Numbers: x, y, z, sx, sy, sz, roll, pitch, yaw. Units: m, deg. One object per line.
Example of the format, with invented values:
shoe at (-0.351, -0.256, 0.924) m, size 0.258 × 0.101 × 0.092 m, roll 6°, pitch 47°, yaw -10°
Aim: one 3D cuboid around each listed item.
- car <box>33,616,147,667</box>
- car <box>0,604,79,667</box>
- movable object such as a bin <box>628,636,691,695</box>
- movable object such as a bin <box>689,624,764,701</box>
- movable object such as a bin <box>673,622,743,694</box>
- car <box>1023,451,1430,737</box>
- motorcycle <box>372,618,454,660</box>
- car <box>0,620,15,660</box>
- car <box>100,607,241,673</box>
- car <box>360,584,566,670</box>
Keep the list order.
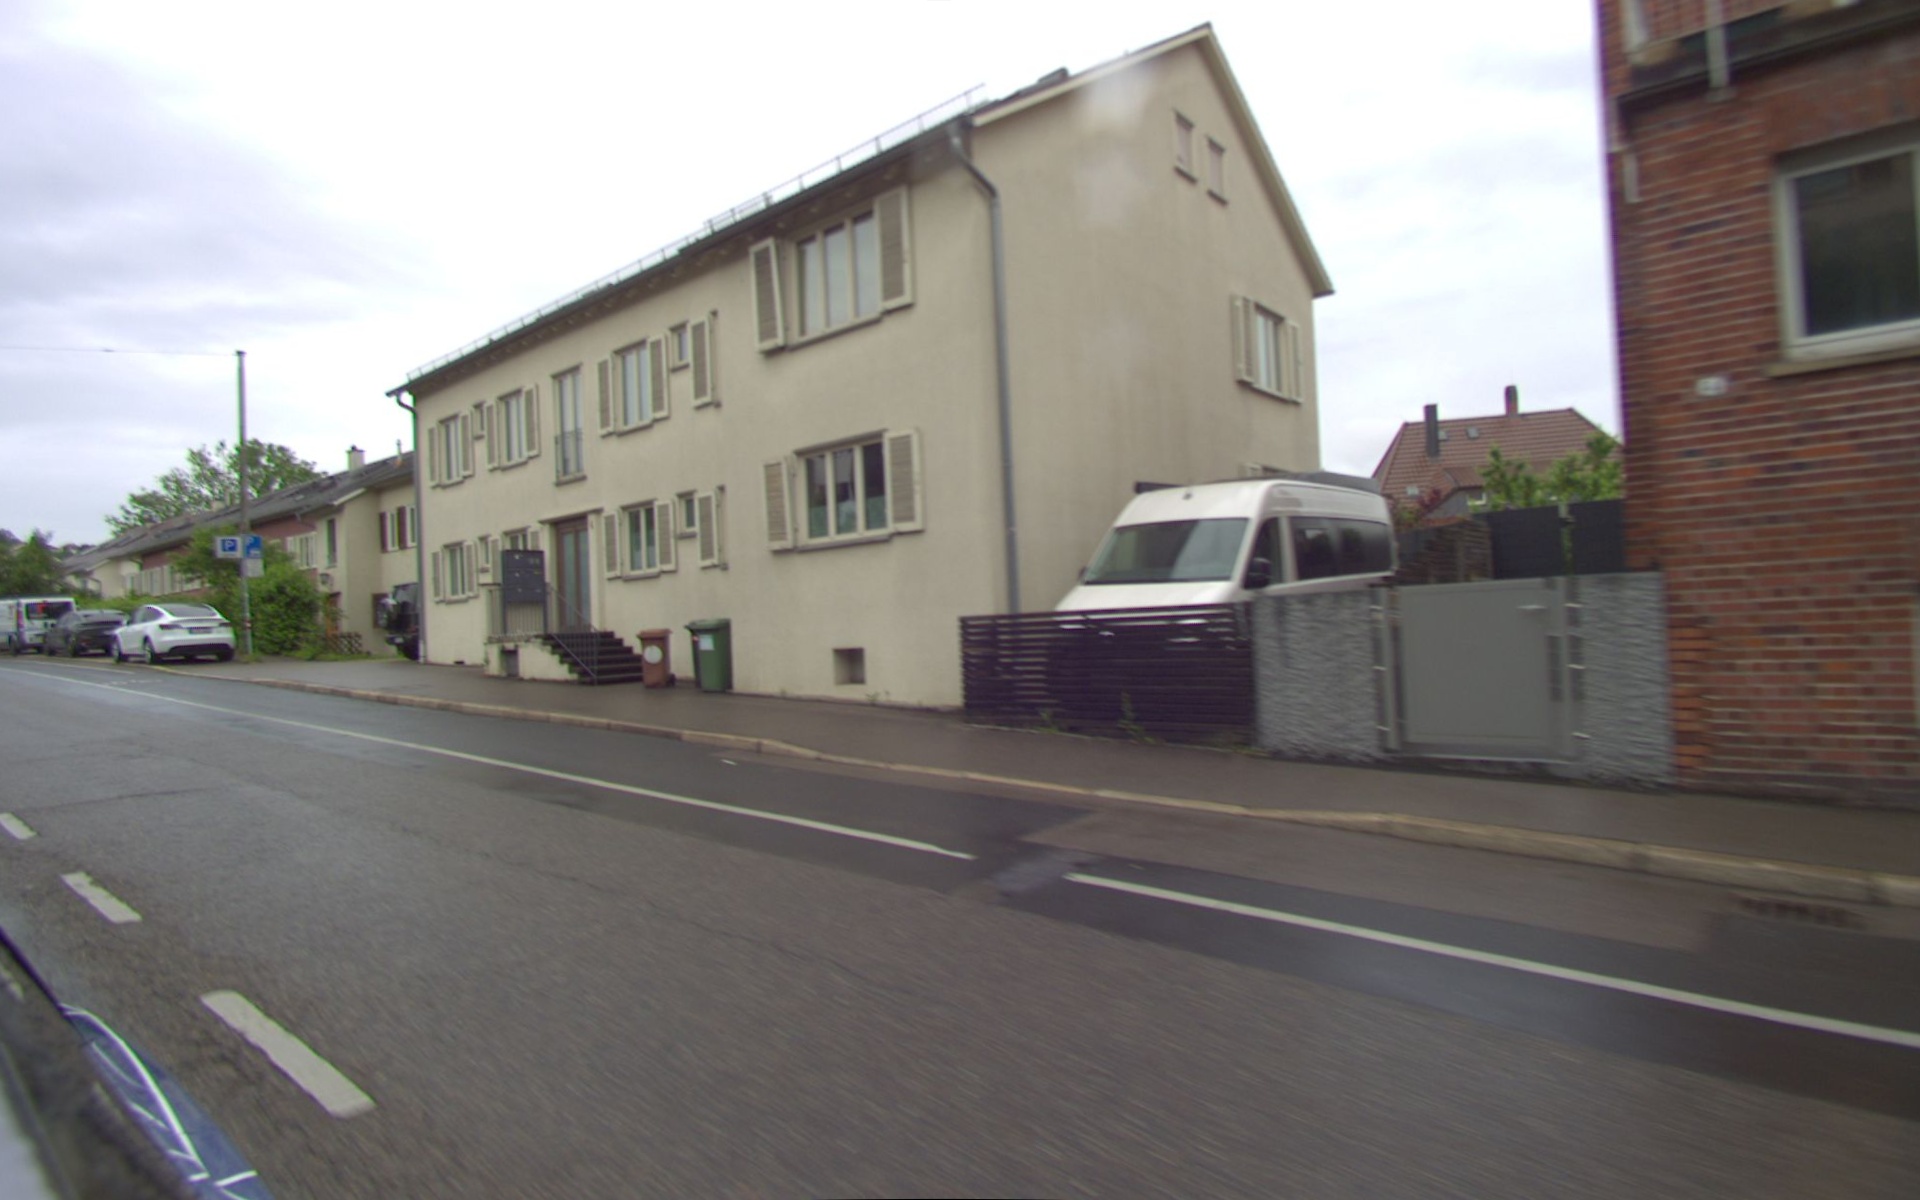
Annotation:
car at (-28.553, 1.319, 33.178) m, size 4.512 × 1.487 × 1.792 m, roll -1°, pitch 1°, yaw 36°
car at (-33.899, 1.249, 36.465) m, size 5.004 × 2.094 × 1.834 m, roll -1°, pitch 1°, yaw 32°
movable object such as a bin at (-4.786, 1.028, 16.130) m, size 0.708 × 0.866 × 0.666 m, roll -1°, pitch 1°, yaw 40°
movable object such as a bin at (-3.445, 0.900, 14.961) m, size 0.738 × 1.054 × 0.774 m, roll -1°, pitch 1°, yaw 40°
movable object such as a bin at (-3.948, 0.893, 15.864) m, size 0.708 × 1.054 × 0.774 m, roll -1°, pitch 1°, yaw 40°
car at (3.611, -0.142, 12.316) m, size 2.166 × 2.572 × 6.586 m, roll 0°, pitch 2°, yaw 40°
motorcycle at (-16.842, 1.172, 31.186) m, size 0.840 × 1.143 × 2.070 m, roll 1°, pitch 2°, yaw 43°
car at (-38.662, 1.599, 38.962) m, size 4.497 × 1.487 × 1.798 m, roll -1°, pitch 1°, yaw 26°
car at (-22.132, 1.066, 28.306) m, size 4.669 × 1.643 × 1.912 m, roll -1°, pitch 1°, yaw 37°
car at (-12.895, 0.656, 26.487) m, size 1.885 × 2.029 × 4.447 m, roll -3°, pitch -1°, yaw 37°
